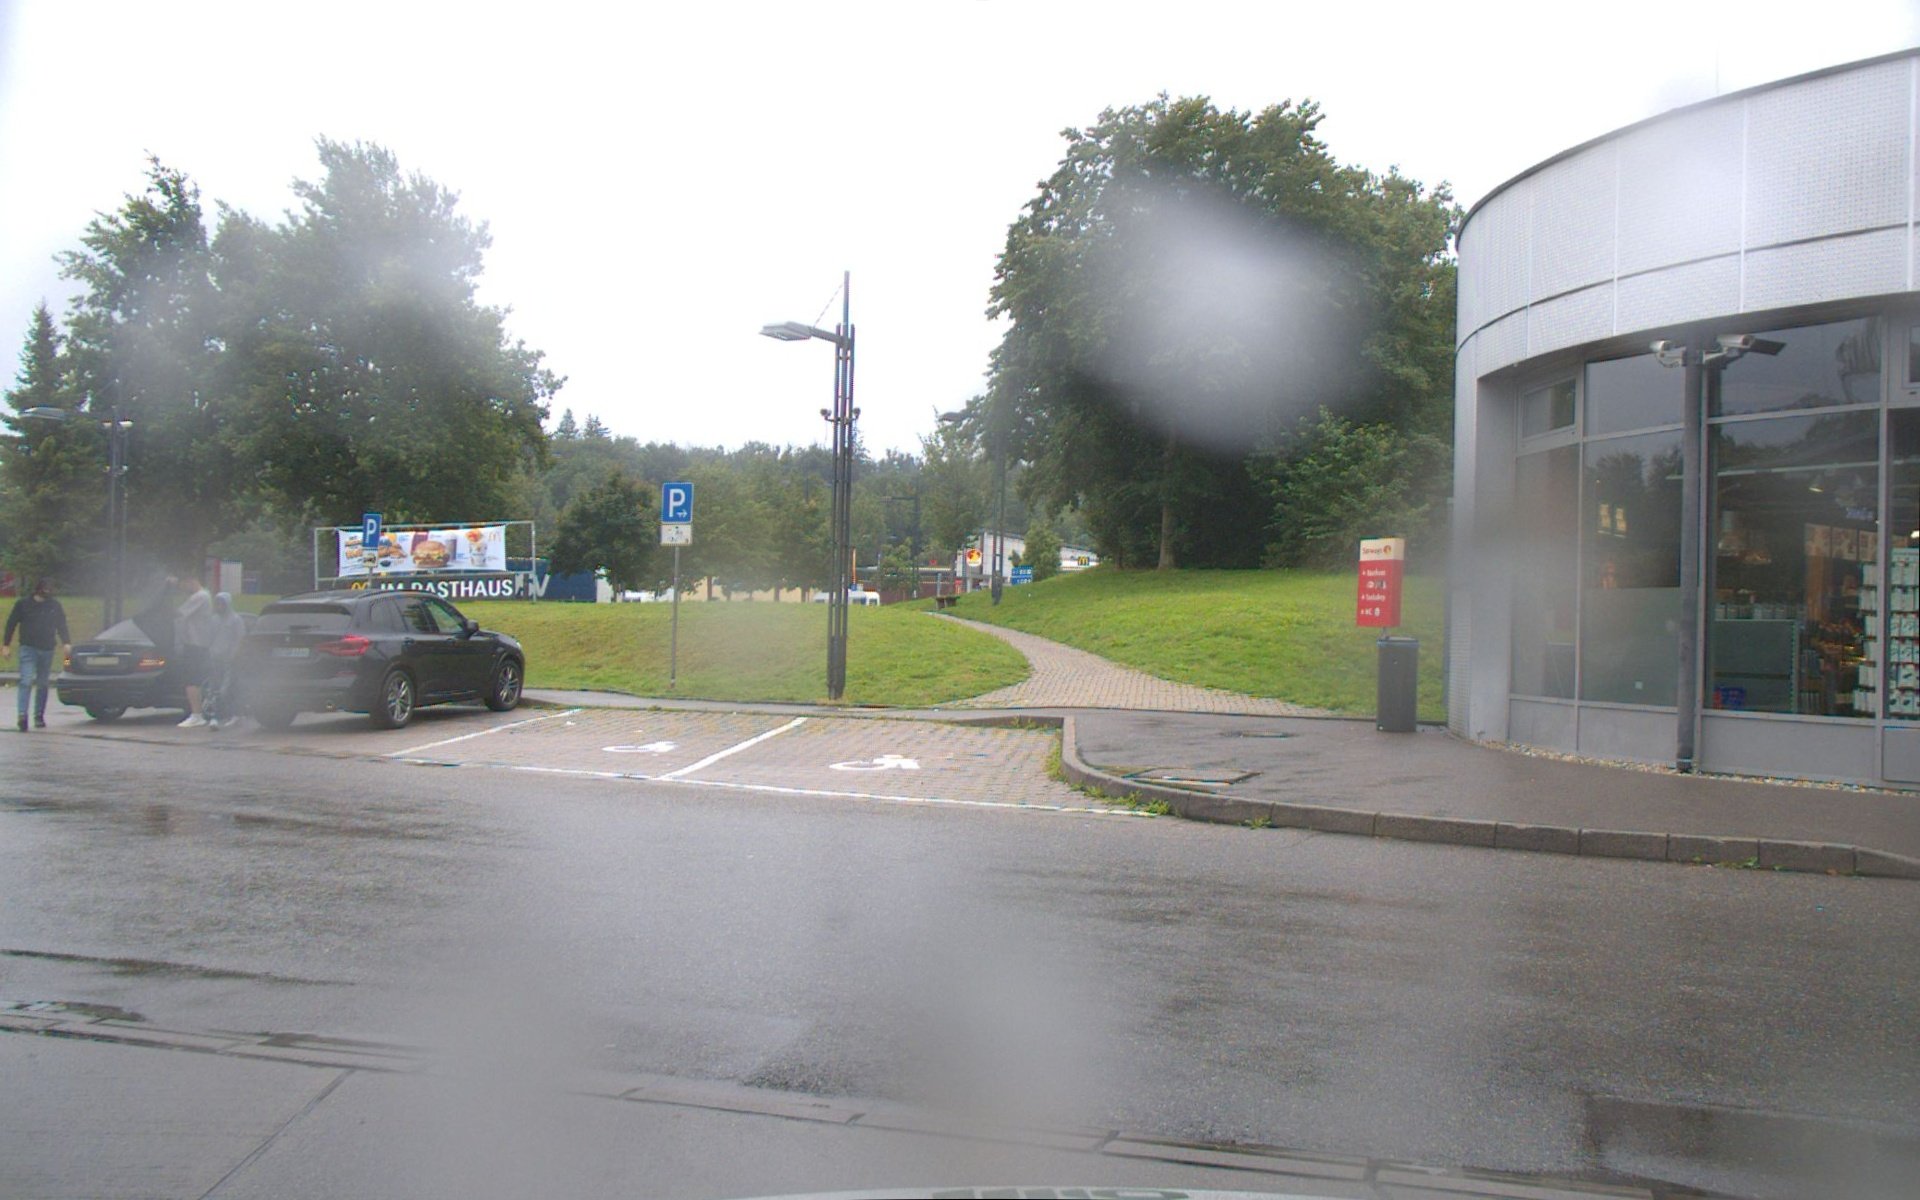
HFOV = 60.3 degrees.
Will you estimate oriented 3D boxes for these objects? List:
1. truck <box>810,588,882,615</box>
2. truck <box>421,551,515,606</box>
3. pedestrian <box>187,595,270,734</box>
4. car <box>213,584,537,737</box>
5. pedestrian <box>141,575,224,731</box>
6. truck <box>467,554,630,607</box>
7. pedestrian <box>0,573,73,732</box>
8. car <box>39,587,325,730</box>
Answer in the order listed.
[{"bbox_3d":[-9.228,0.136,133.660,5.298,2.049,2.366,1,0,24],"label":"truck"},{"bbox_3d":[-27.976,-1.177,94.248,2.142,2.971,5.384,1,0,24],"label":"truck"},{"bbox_3d":[-8.965,0.781,20.301,0.689,1.660,0.952,1,-1,-10],"label":"pedestrian"},{"bbox_3d":[-7.364,0.690,21.365,1.973,1.741,4.347,-1,1,11],"label":"car"},{"bbox_3d":[-9.817,0.659,20.905,0.689,1.920,0.951,1,-1,-11],"label":"pedestrian"},{"bbox_3d":[-24.926,-1.093,101.263,2.142,2.971,13.092,1,0,23],"label":"truck"},{"bbox_3d":[-11.471,0.643,20.526,0.692,1.920,0.887,1,-1,-23],"label":"pedestrian"},{"bbox_3d":[-10.571,0.715,22.883,1.976,1.741,4.342,-1,1,-2],"label":"car"}]
